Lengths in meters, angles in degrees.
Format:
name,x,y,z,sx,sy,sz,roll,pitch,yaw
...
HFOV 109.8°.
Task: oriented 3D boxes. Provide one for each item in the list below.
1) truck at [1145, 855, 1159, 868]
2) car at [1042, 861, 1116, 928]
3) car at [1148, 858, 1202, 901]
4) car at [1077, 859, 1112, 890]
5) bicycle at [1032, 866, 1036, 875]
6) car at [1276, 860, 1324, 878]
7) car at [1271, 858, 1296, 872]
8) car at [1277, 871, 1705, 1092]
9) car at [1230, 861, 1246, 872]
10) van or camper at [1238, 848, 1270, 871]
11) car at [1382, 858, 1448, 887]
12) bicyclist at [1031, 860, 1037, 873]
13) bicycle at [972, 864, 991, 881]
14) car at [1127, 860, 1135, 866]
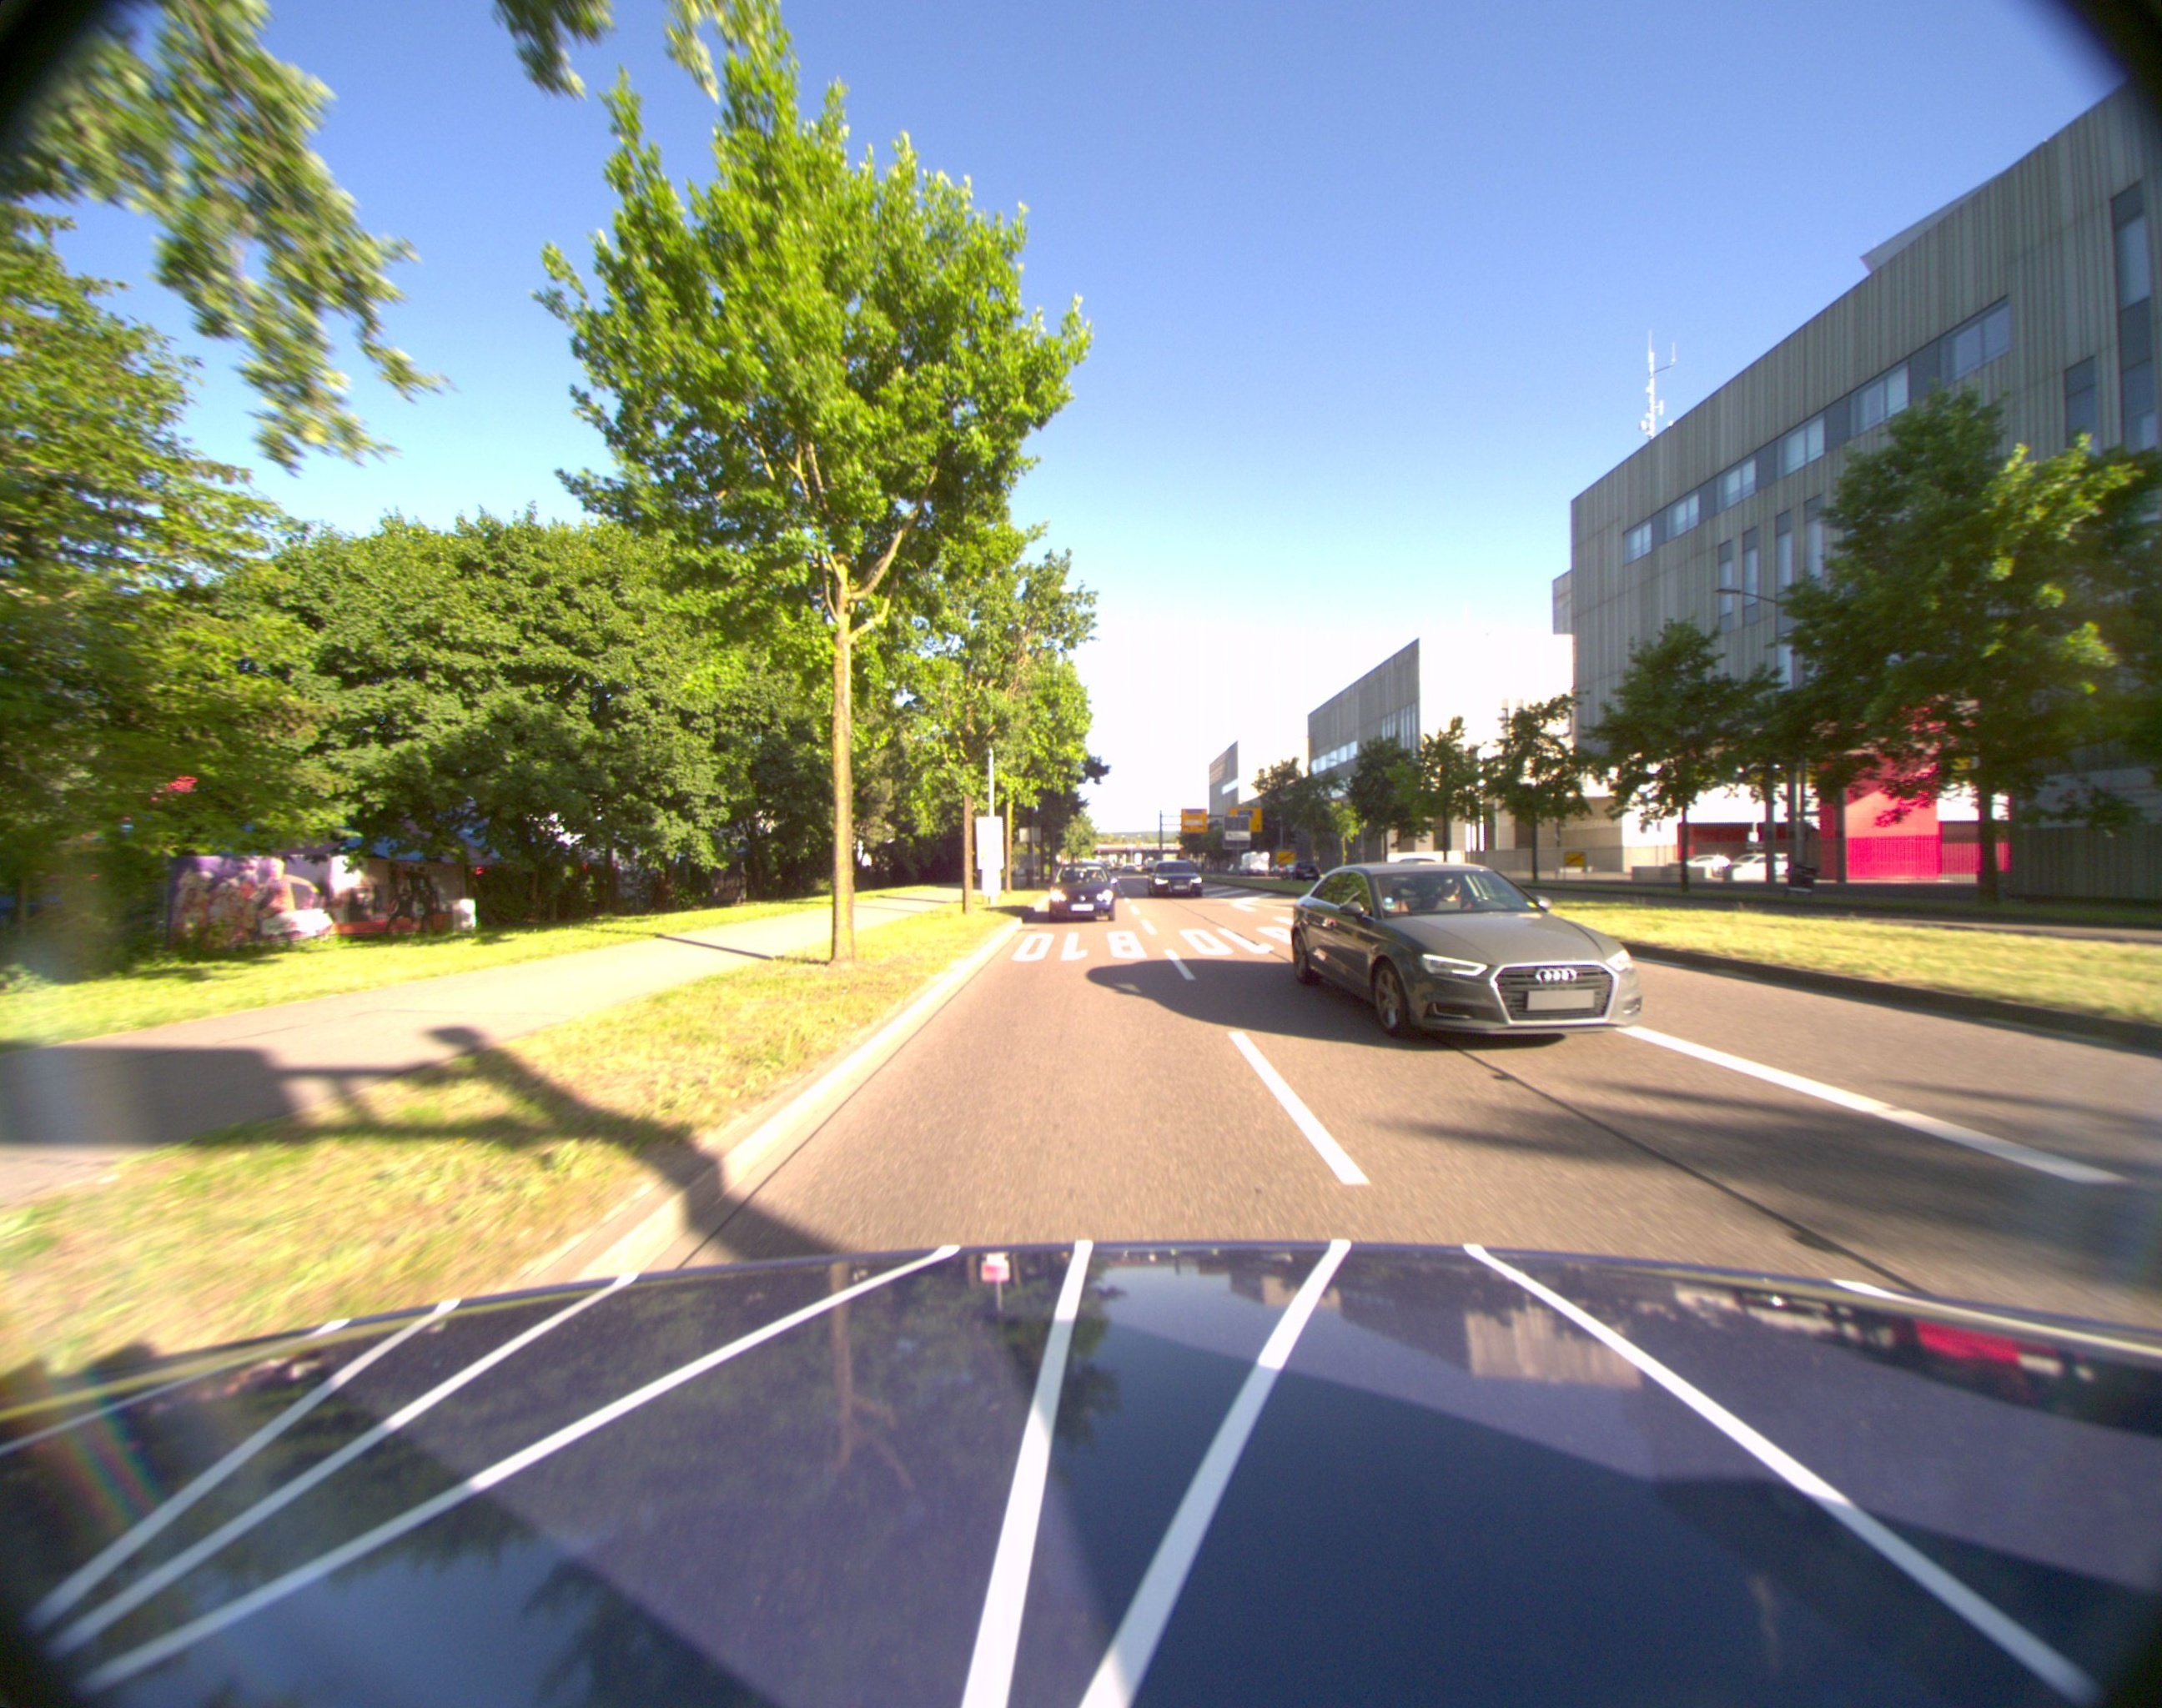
name,x,y,z,sx,sy,sz,roll,pitch,yaw
truck,16.937,1.830,181.644,2.692,2.943,7.116,1,-1,2
car,-0.020,0.978,19.892,1.702,1.474,4.052,-2,0,1
car,3.693,0.978,30.417,1.702,1.528,3.947,-2,-1,1
car,0.696,1.027,39.006,1.702,1.478,3.947,-1,-1,1
bicycle,-5.627,1.965,90.927,0.517,1.066,1.936,-1,-1,-2
car,14.226,0.960,49.544,1.832,1.105,4.174,0,0,-1
car,21.198,1.157,79.713,1.554,1.499,4.027,-1,-1,0
car,3.308,0.904,7.261,1.702,1.395,4.365,-1,-1,0
car,21.331,1.739,103.509,1.449,1.427,3.460,-1,-1,0
van or camper,17.938,0.585,79.082,1.998,2.354,5.994,1,-1,1
car,17.760,0.943,40.604,1.693,1.467,4.049,0,0,-1
bicyclist,-5.606,1.524,90.890,0.686,1.513,1.036,-1,0,-2
bicycle,-6.556,1.225,50.324,0.775,1.124,1.710,-1,-1,9
car,13.221,2.439,201.090,1.828,1.672,4.659,1,-1,1
